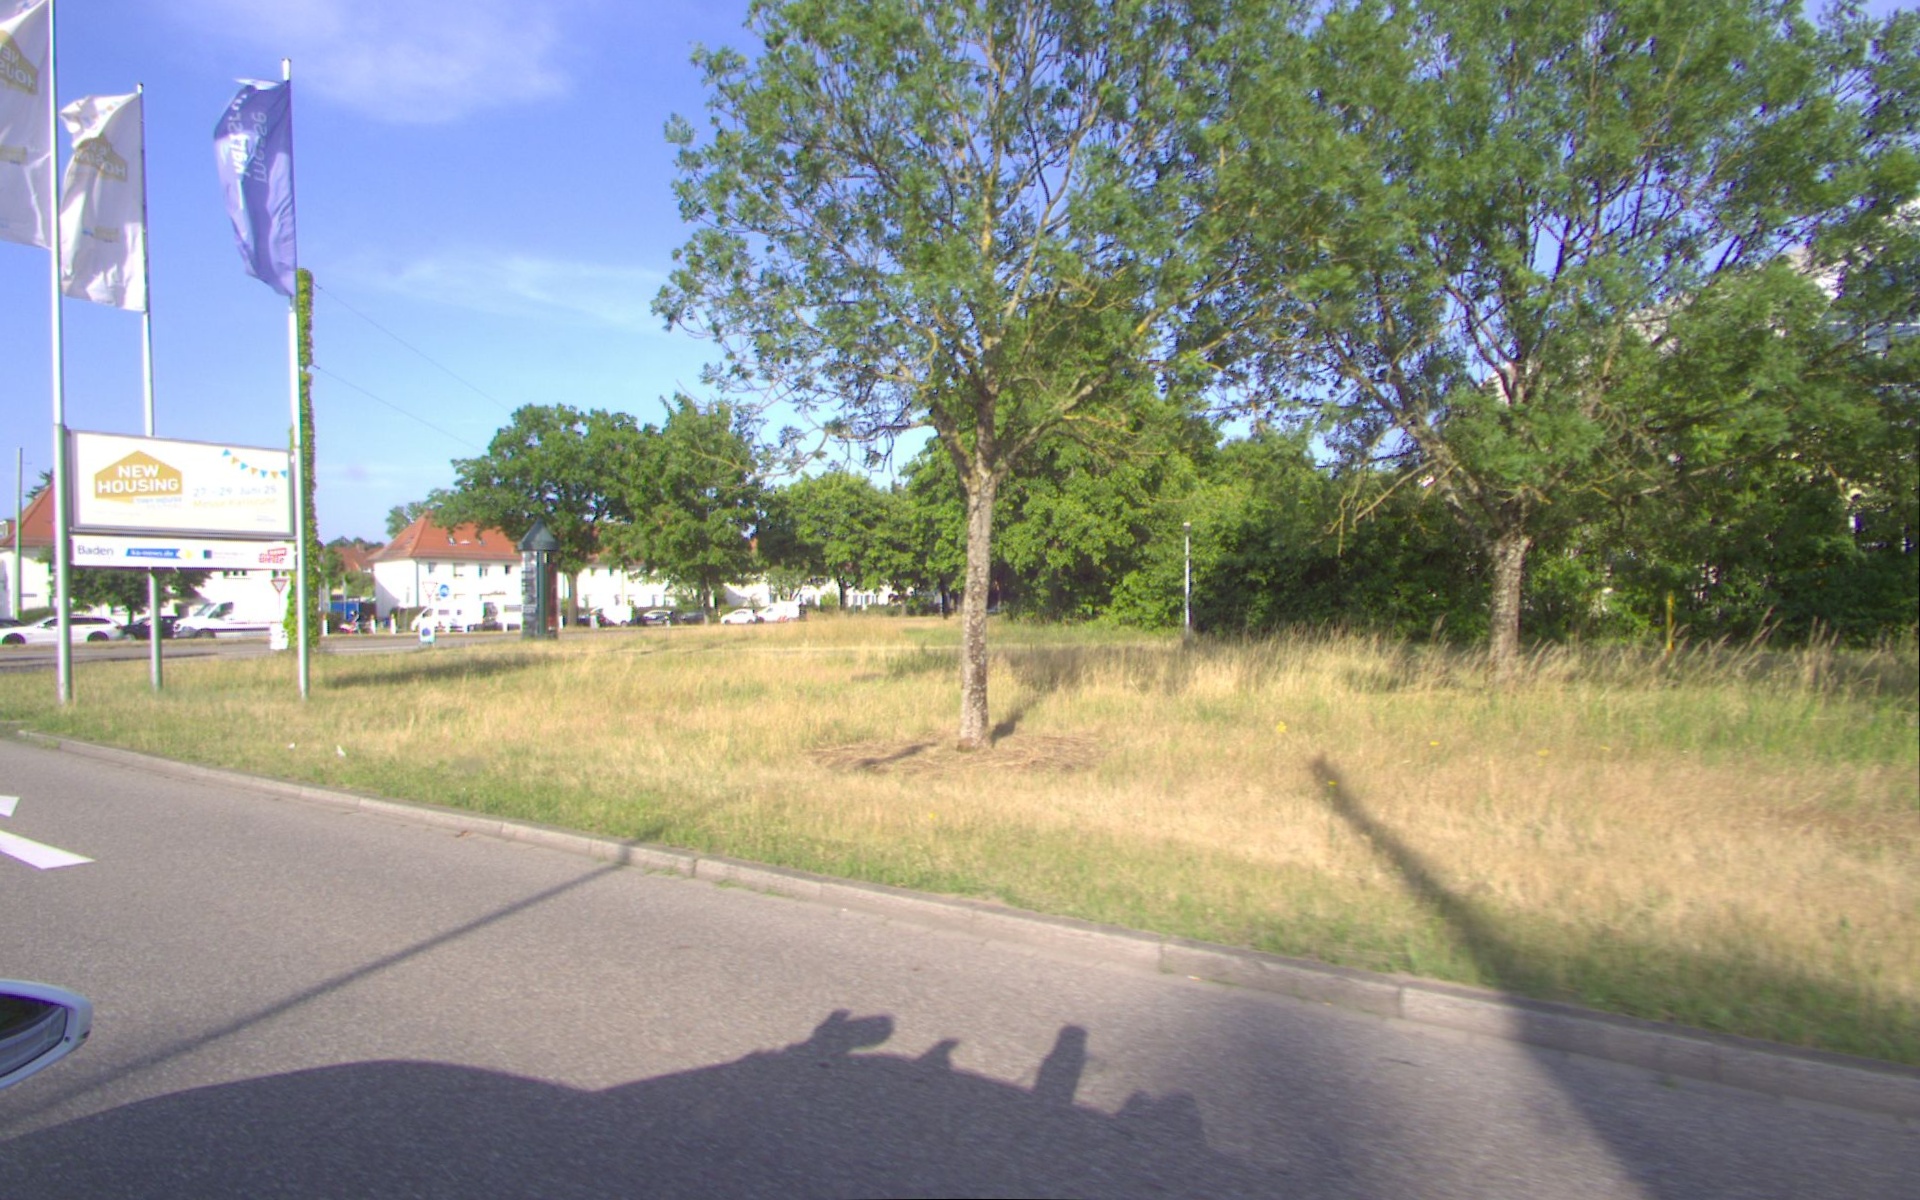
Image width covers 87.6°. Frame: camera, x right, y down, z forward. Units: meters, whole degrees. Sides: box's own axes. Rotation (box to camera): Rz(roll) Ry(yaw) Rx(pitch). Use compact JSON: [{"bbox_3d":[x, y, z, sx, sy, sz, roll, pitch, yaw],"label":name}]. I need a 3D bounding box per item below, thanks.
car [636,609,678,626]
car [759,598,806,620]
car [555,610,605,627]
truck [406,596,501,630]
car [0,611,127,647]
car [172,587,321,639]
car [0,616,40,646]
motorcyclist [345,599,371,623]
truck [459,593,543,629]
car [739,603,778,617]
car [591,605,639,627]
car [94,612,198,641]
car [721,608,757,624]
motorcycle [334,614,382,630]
[{"bbox_3d":[-28.266,1.598,93.538,3.432,1.534,1.895,-1,0,-6],"label":"car"},{"bbox_3d":[-18.940,0.959,106.927,4.885,2.261,1.999,-1,0,-10],"label":"car"},{"bbox_3d":[-33.413,1.624,88.154,3.837,1.475,1.894,-1,0,-13],"label":"car"},{"bbox_3d":[-39.139,1.026,77.500,6.233,2.557,2.277,0,0,1],"label":"truck"},{"bbox_3d":[-42.492,1.339,46.881,1.816,1.583,5.077,-1,0,37],"label":"car"},{"bbox_3d":[-37.859,0.693,53.350,1.974,2.617,6.187,0,0,36],"label":"car"},{"bbox_3d":[-46.732,1.479,47.155,1.694,1.430,4.807,-1,0,37],"label":"car"},{"bbox_3d":[-34.255,0.617,56.990,0.671,1.369,1.062,0,0,35],"label":"motorcyclist"},{"bbox_3d":[-37.733,0.890,82.468,5.964,2.892,1.895,-1,0,-10],"label":"truck"},{"bbox_3d":[-25.142,1.235,124.975,4.914,1.742,1.987,-1,0,36],"label":"car"},{"bbox_3d":[-31.268,1.415,90.833,3.835,1.945,1.895,-1,0,-10],"label":"car"},{"bbox_3d":[-42.678,1.367,52.558,1.694,1.472,3.973,-1,0,37],"label":"car"},{"bbox_3d":[-22.411,1.635,101.730,3.367,1.534,1.895,-1,0,-6],"label":"car"},{"bbox_3d":[-34.253,1.226,57.001,0.681,0.878,2.264,0,0,35],"label":"motorcycle"}]
